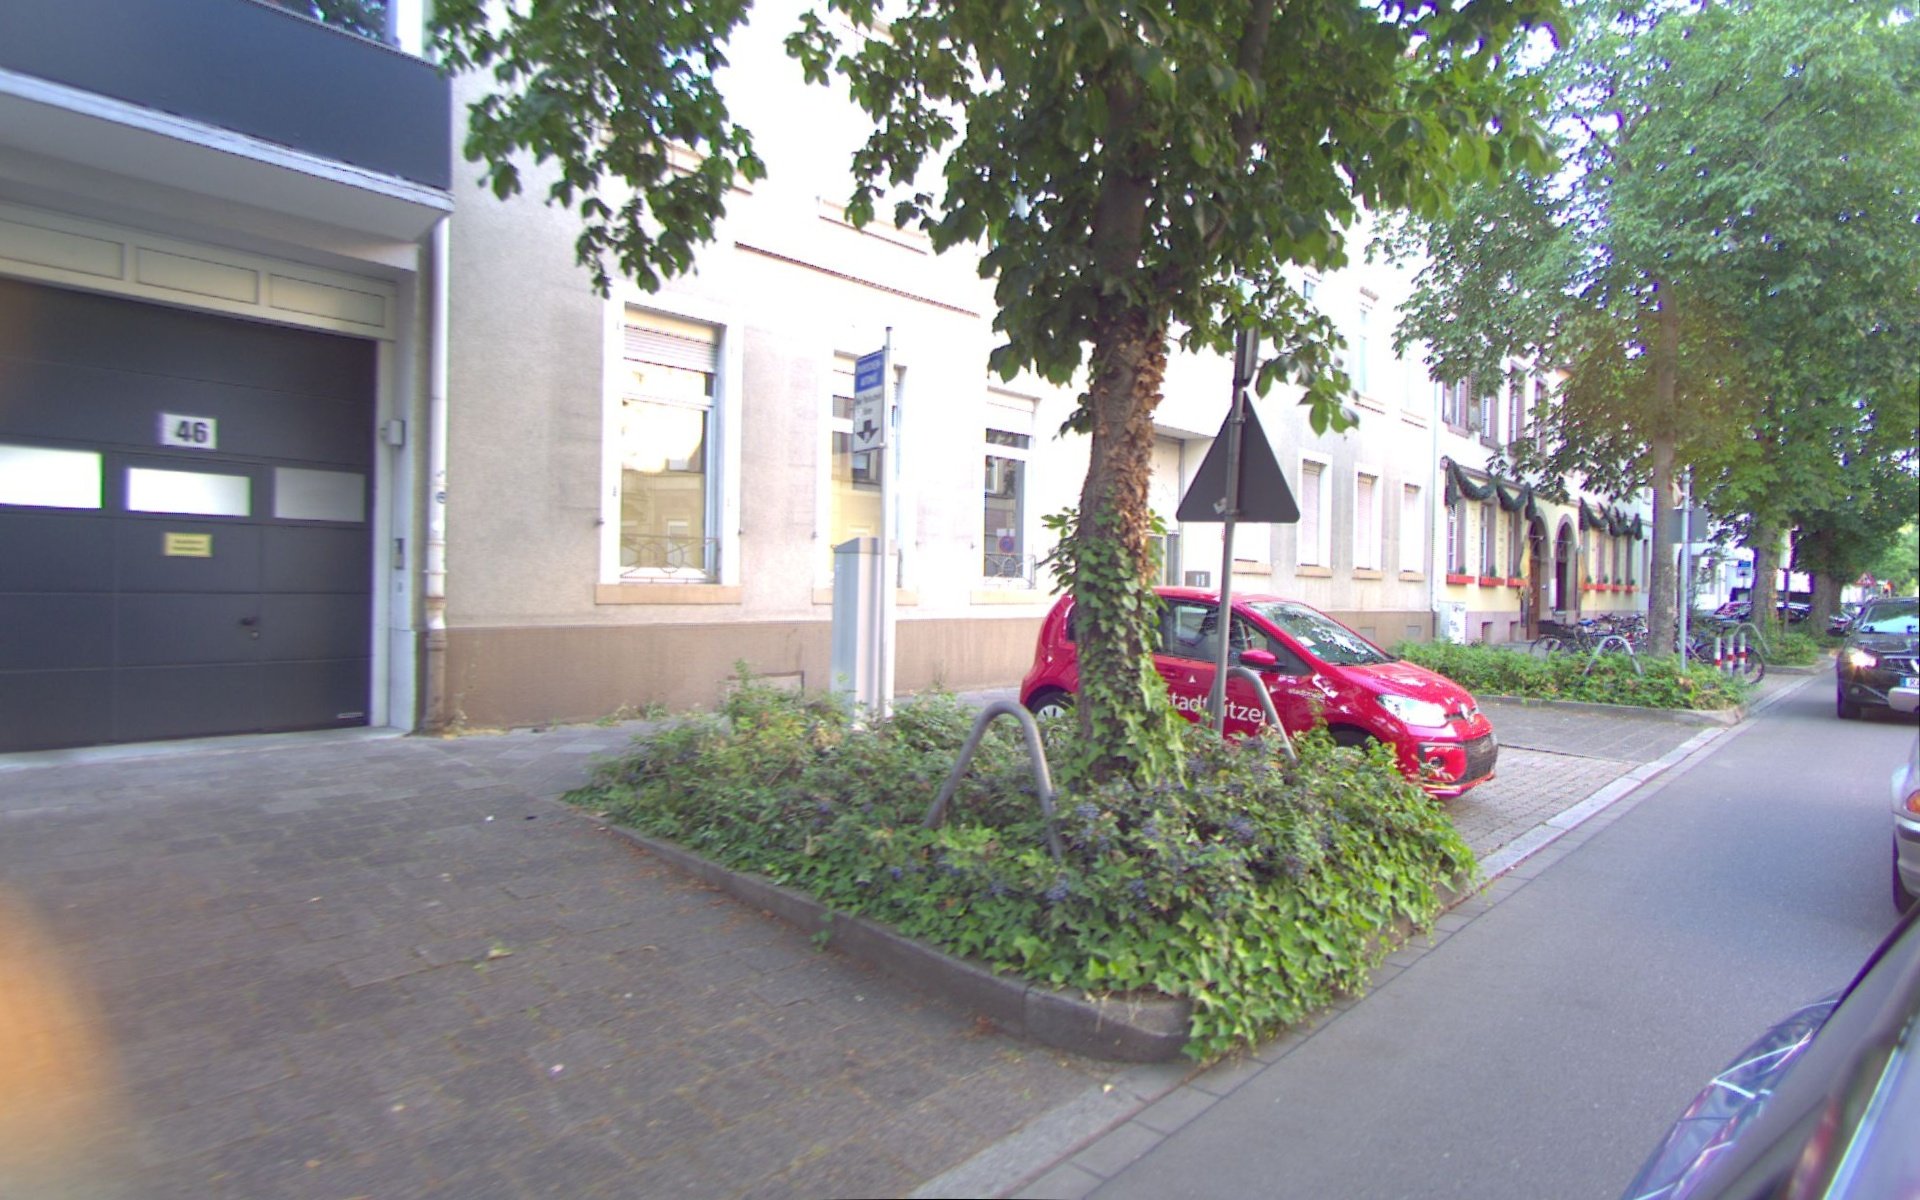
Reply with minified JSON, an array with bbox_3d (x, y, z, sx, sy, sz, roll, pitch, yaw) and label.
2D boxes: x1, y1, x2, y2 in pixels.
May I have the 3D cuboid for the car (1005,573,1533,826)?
[{"bbox_3d":[2.247,0.560,7.923,3.611,1.495,1.638,2,1,44],"label":"car"}]

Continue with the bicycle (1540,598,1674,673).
[{"bbox_3d":[11.774,0.620,18.477,2.015,1.242,0.529,2,1,35],"label":"bicycle"}]

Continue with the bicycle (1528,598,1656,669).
[{"bbox_3d":[12.009,0.610,19.281,2.015,1.242,0.529,2,1,35],"label":"bicycle"}]

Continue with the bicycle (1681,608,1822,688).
[{"bbox_3d":[13.516,0.792,17.344,1.836,1.242,0.529,2,1,35],"label":"bicycle"}]

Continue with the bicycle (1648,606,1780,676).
[{"bbox_3d":[14.714,0.777,19.794,2.020,1.242,0.528,2,1,40],"label":"bicycle"}]

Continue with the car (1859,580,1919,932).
[{"bbox_3d":[6.087,0.660,5.069,4.356,1.460,1.711,0,1,-39],"label":"car"}]

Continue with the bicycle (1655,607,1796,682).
[{"bbox_3d":[14.050,0.793,18.617,2.020,1.242,0.528,2,1,40],"label":"bicycle"}]

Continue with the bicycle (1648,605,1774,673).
[{"bbox_3d":[15.213,0.767,20.534,2.020,1.242,0.528,2,1,40],"label":"bicycle"}]

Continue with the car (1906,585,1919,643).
[{"bbox_3d":[28.219,0.395,28.757,1.802,1.571,3.935,2,1,45],"label":"car"}]

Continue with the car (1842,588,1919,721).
[{"bbox_3d":[12.912,0.651,13.173,3.934,1.571,1.803,0,1,-44],"label":"car"}]

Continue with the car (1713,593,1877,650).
[{"bbox_3d":[28.713,0.675,34.879,4.234,1.761,1.714,2,1,45],"label":"car"}]

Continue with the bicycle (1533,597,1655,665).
[{"bbox_3d":[12.665,0.597,20.259,2.018,1.242,0.528,2,1,38],"label":"bicycle"}]
